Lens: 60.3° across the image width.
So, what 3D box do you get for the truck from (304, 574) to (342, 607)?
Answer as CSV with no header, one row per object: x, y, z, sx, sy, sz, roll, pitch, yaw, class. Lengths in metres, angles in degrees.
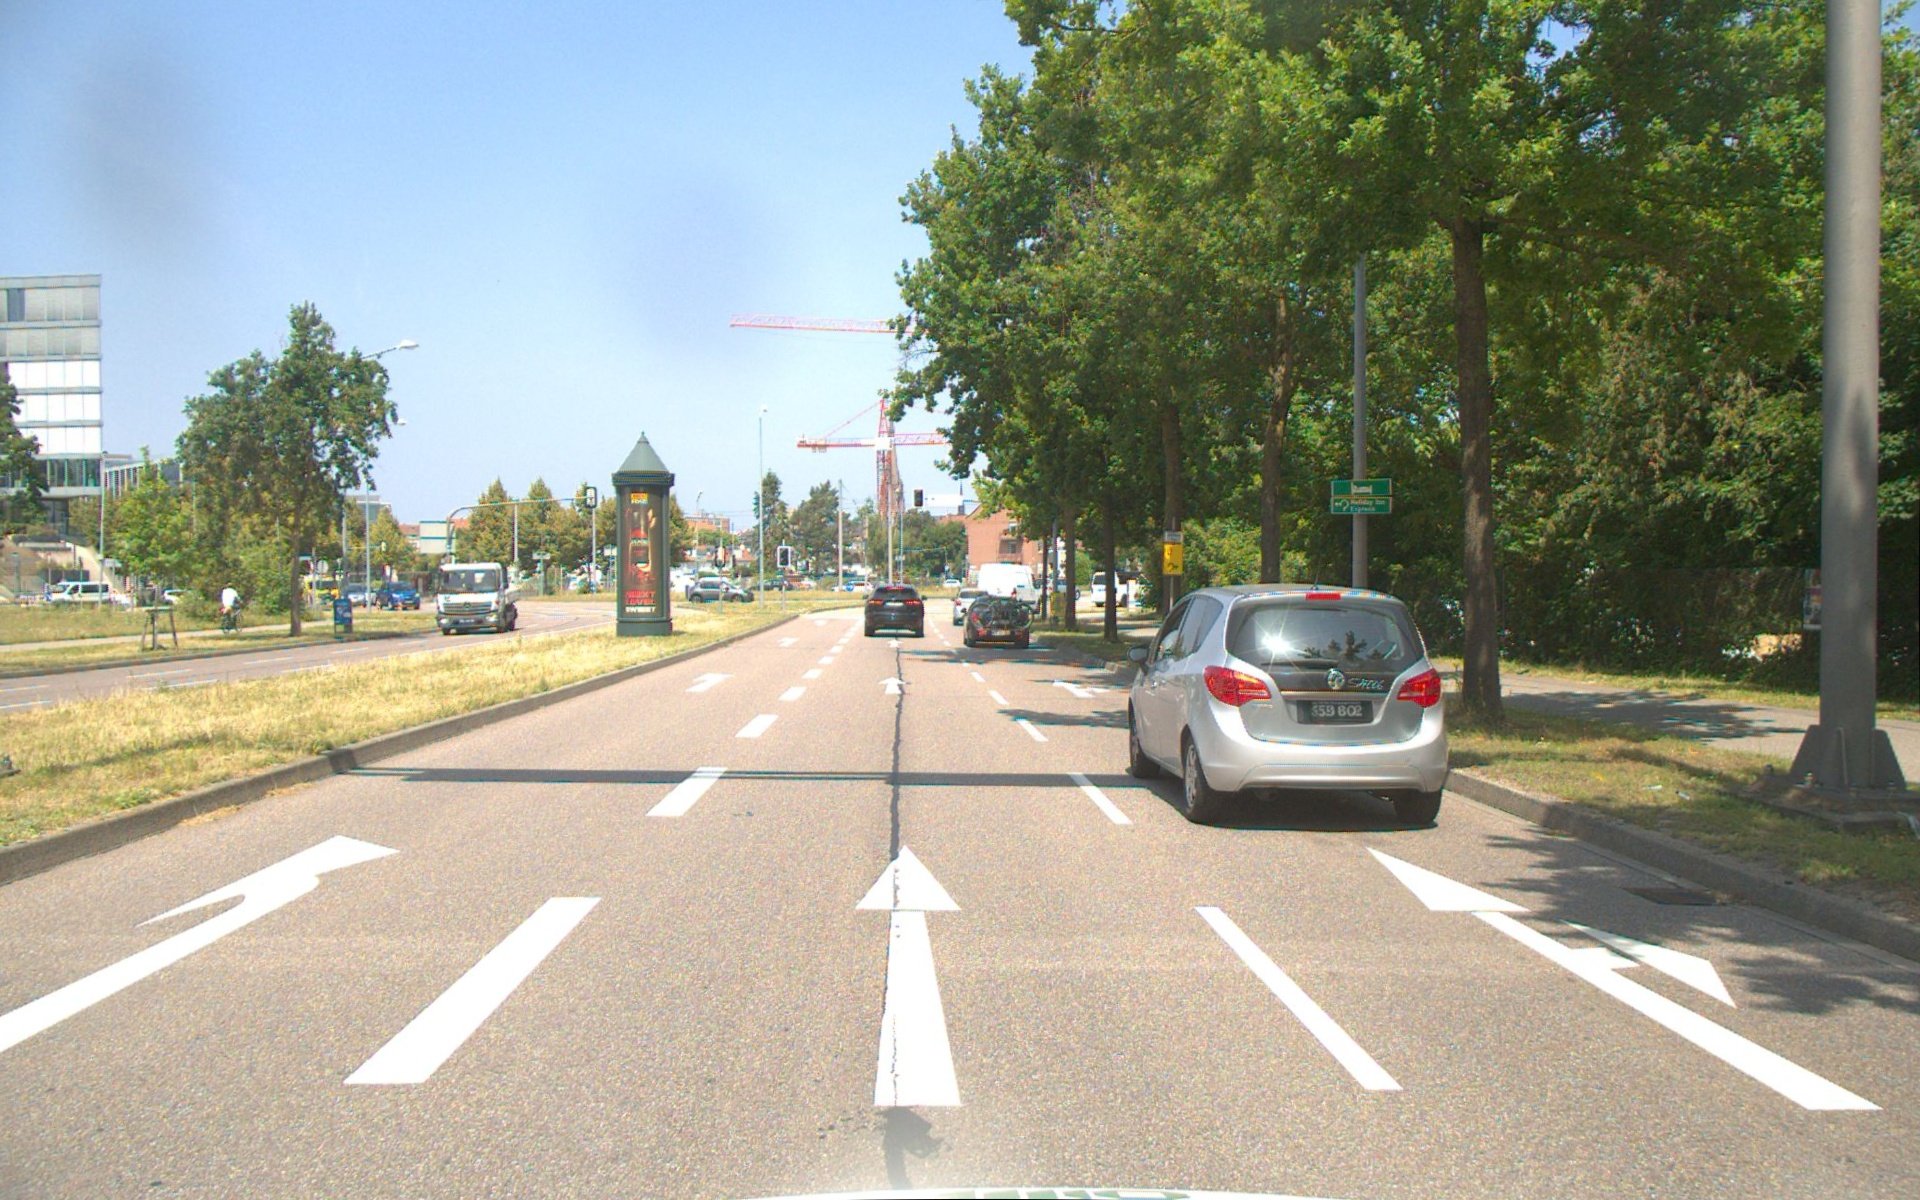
-55.880,-0.855,144.947,1.977,2.787,4.972,-1,1,-35,truck

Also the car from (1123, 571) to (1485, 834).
2.359,0.619,12.344,1.756,1.640,3.889,0,1,-2,car

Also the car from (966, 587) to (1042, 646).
1.188,0.432,46.611,1.973,1.543,4.460,-1,1,0,car

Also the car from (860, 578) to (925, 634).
-2.149,0.160,53.349,1.957,1.719,4.033,1,1,-1,car

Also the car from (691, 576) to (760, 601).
-14.103,-0.674,99.751,3.906,1.478,2.000,0,0,-1,car

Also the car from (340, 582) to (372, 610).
-41.296,-0.296,113.115,1.964,1.847,3.976,-1,1,-20,car

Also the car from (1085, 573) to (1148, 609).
9.109,-0.560,96.184,1.960,2.049,3.986,0,1,35,car

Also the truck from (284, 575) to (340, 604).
-60.834,-0.962,155.312,6.298,2.640,2.348,0,1,42,truck

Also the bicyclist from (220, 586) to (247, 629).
-26.142,0.256,59.486,0.610,1.515,0.757,-1,0,1,bicyclist

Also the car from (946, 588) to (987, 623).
0.265,0.193,68.681,1.620,1.380,4.461,-1,1,0,car

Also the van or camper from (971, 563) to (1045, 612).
2.436,-0.644,82.649,2.441,2.331,4.924,0,1,17,van or camper

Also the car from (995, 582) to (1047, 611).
3.901,-0.228,104.485,1.826,1.780,3.997,0,1,26,car

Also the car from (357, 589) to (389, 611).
-43.822,-0.003,123.437,1.654,1.563,3.824,-1,0,-29,car

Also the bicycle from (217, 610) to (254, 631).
-26.125,0.736,59.669,0.471,0.728,1.850,-1,0,1,bicycle

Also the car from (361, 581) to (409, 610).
-33.111,-0.280,95.187,1.971,1.624,3.962,-1,0,-29,car

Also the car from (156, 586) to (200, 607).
-79.269,-0.394,167.703,3.933,1.848,1.986,-1,-7,-23,car

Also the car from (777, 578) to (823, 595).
-14.648,-1.209,151.733,3.902,1.489,2.001,-1,0,5,car

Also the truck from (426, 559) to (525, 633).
-18.328,-0.175,62.941,2.589,2.621,6.308,-1,1,-7,truck
